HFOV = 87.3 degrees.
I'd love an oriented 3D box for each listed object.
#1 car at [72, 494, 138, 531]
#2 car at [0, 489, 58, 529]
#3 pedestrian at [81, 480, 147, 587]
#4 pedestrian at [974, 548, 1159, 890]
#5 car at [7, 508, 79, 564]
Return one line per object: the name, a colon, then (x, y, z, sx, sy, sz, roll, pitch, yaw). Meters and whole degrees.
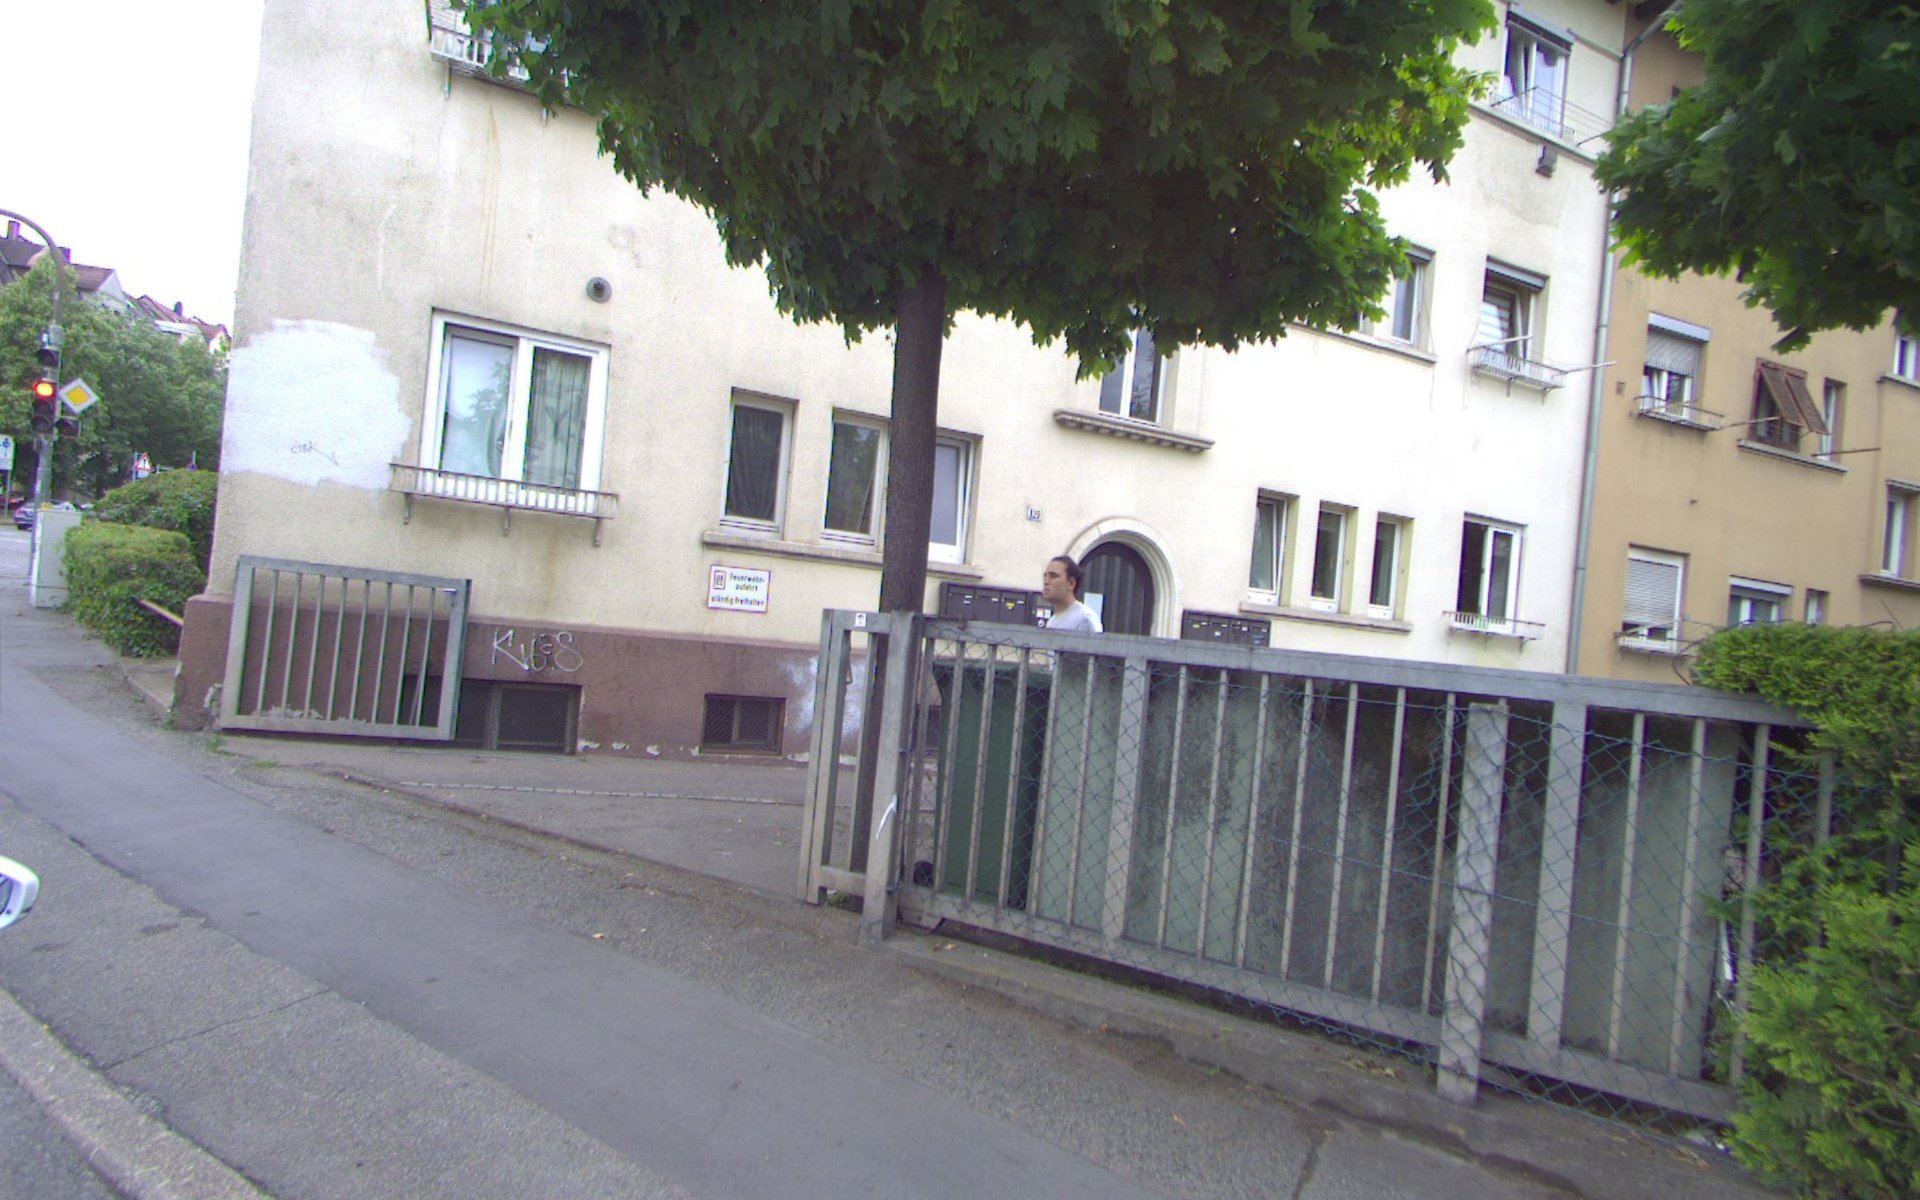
car: (-63.142, -6.440, 74.385, 1.970, 2.036, 3.992, 8, -3, -15)
car: (-60.838, -5.923, 64.965, 1.970, 2.036, 3.992, 8, -3, -15)
pedestrian: (-15.360, -1.207, 18.270, 0.521, 1.840, 0.590, 6, -2, 33)
pedestrian: (0.604, 0.638, 5.651, 0.684, 1.757, 0.467, 7, -2, 30)
car: (-40.332, -2.791, 44.313, 1.987, 2.036, 3.956, 9, -3, -40)
